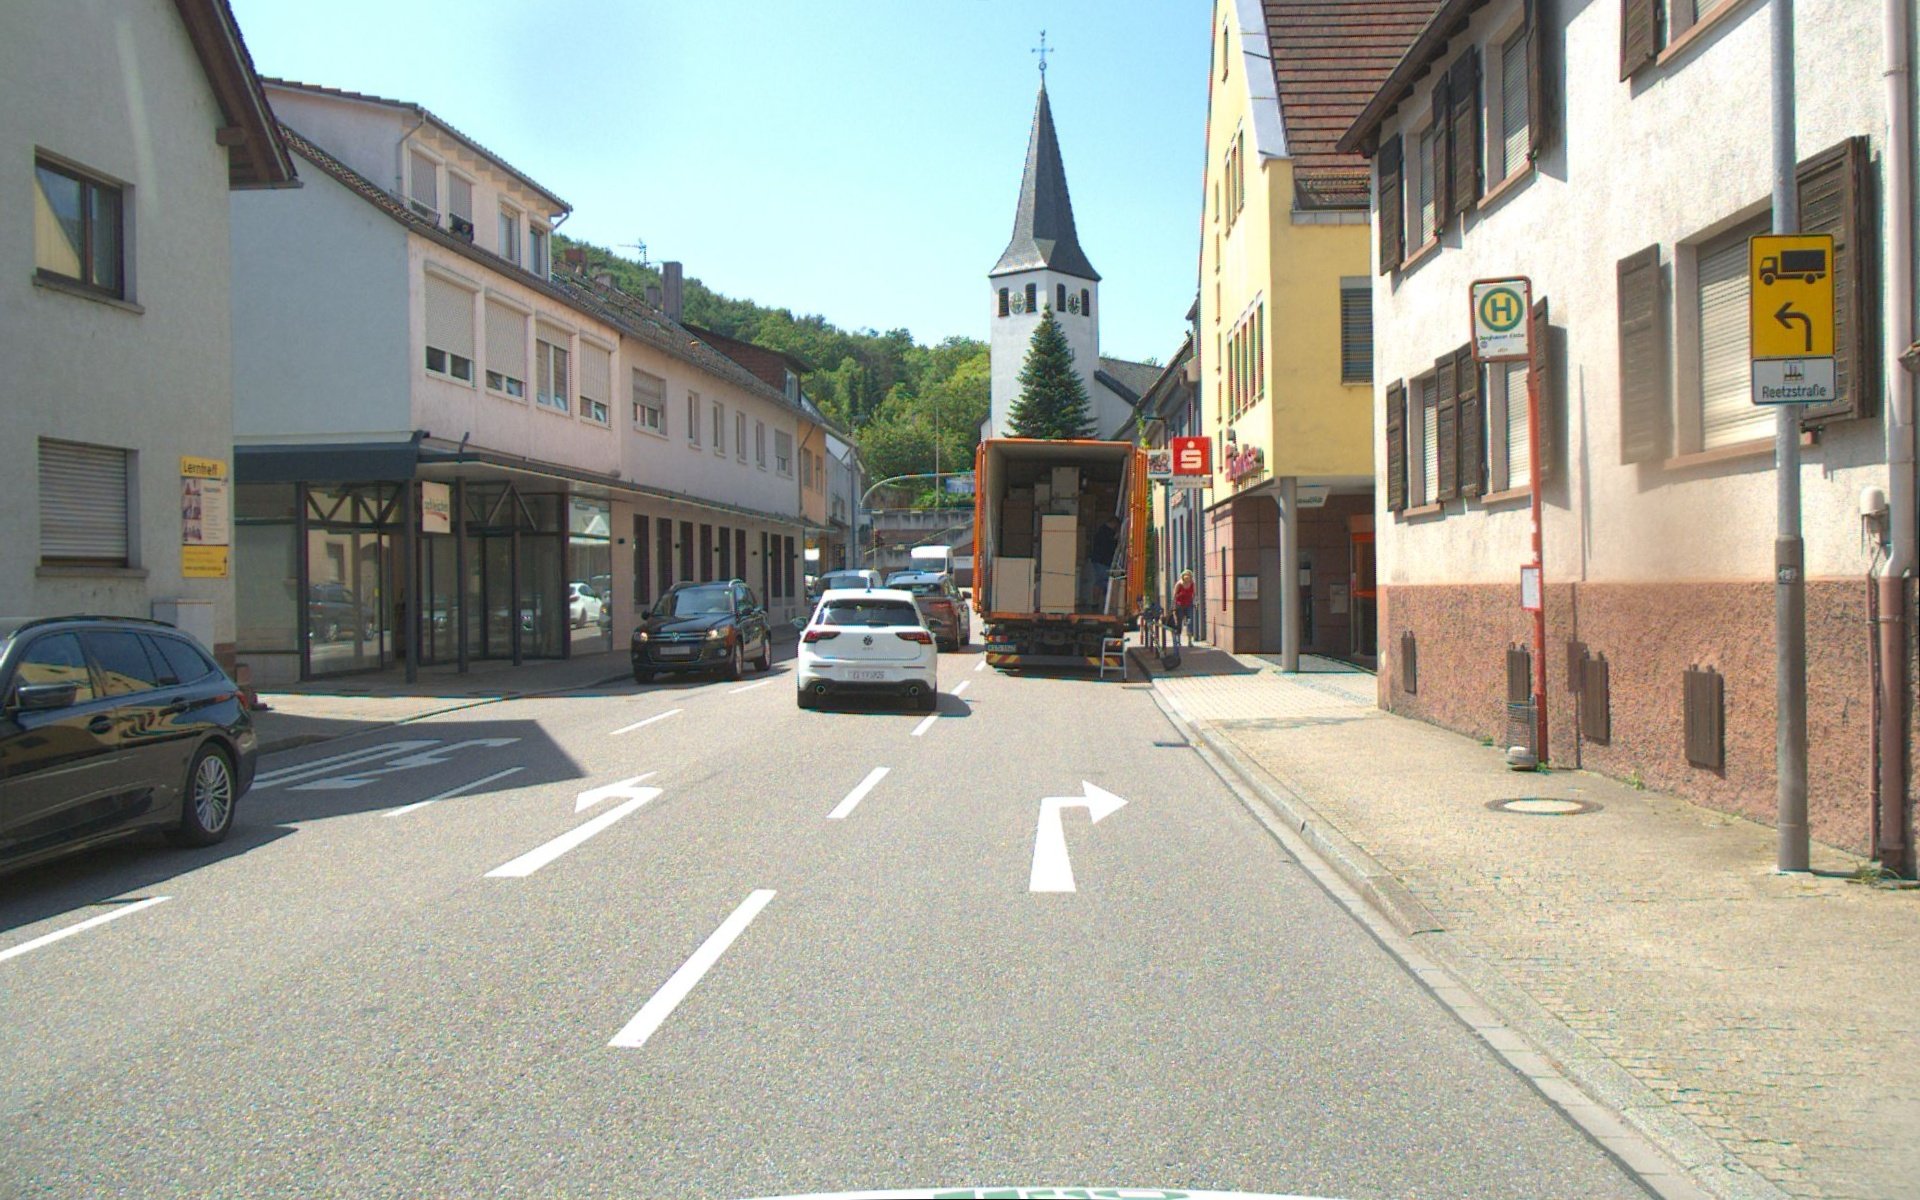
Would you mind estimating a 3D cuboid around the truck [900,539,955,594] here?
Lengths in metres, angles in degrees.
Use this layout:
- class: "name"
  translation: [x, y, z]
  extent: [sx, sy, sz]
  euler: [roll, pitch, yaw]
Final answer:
- class: "truck"
  translation: [-1.546, -1.587, 81.465]
  extent: [2.073, 2.517, 5.739]
  euler: [-2, 0, 5]

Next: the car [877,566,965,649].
- class: "car"
  translation: [-0.846, 0.168, 36.461]
  extent: [1.778, 1.657, 3.999]
  euler: [-2, 0, -1]

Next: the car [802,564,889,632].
- class: "car"
  translation: [-3.246, -0.090, 47.779]
  extent: [1.764, 1.810, 4.708]
  euler: [-2, 1, 4]

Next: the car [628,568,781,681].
- class: "car"
  translation: [-4.383, 0.365, 28.970]
  extent: [1.655, 1.728, 4.115]
  euler: [-2, 1, 5]

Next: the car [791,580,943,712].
- class: "car"
  translation: [-1.134, 0.548, 21.462]
  extent: [1.778, 1.545, 3.999]
  euler: [0, 0, -1]

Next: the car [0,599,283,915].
- class: "car"
  translation: [-5.493, 0.794, 8.887]
  extent: [1.756, 1.519, 4.422]
  euler: [-2, 0, 1]

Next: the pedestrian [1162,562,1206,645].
- class: "pedestrian"
  translation: [4.906, 0.073, 36.307]
  extent: [0.753, 1.773, 0.870]
  euler: [-2, 0, -3]

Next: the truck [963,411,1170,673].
- class: "truck"
  translation: [1.872, -0.959, 32.381]
  extent: [3.298, 4.243, 9.520]
  euler: [-2, 0, 1]

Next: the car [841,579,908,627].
- class: "car"
  translation: [-3.179, 0.123, 62.319]
  extent: [1.951, 1.680, 4.002]
  euler: [-2, 0, 5]

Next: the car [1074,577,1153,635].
- class: "car"
  translation: [4.399, 0.180, 47.956]
  extent: [1.778, 1.545, 3.999]
  euler: [-2, 0, -1]
